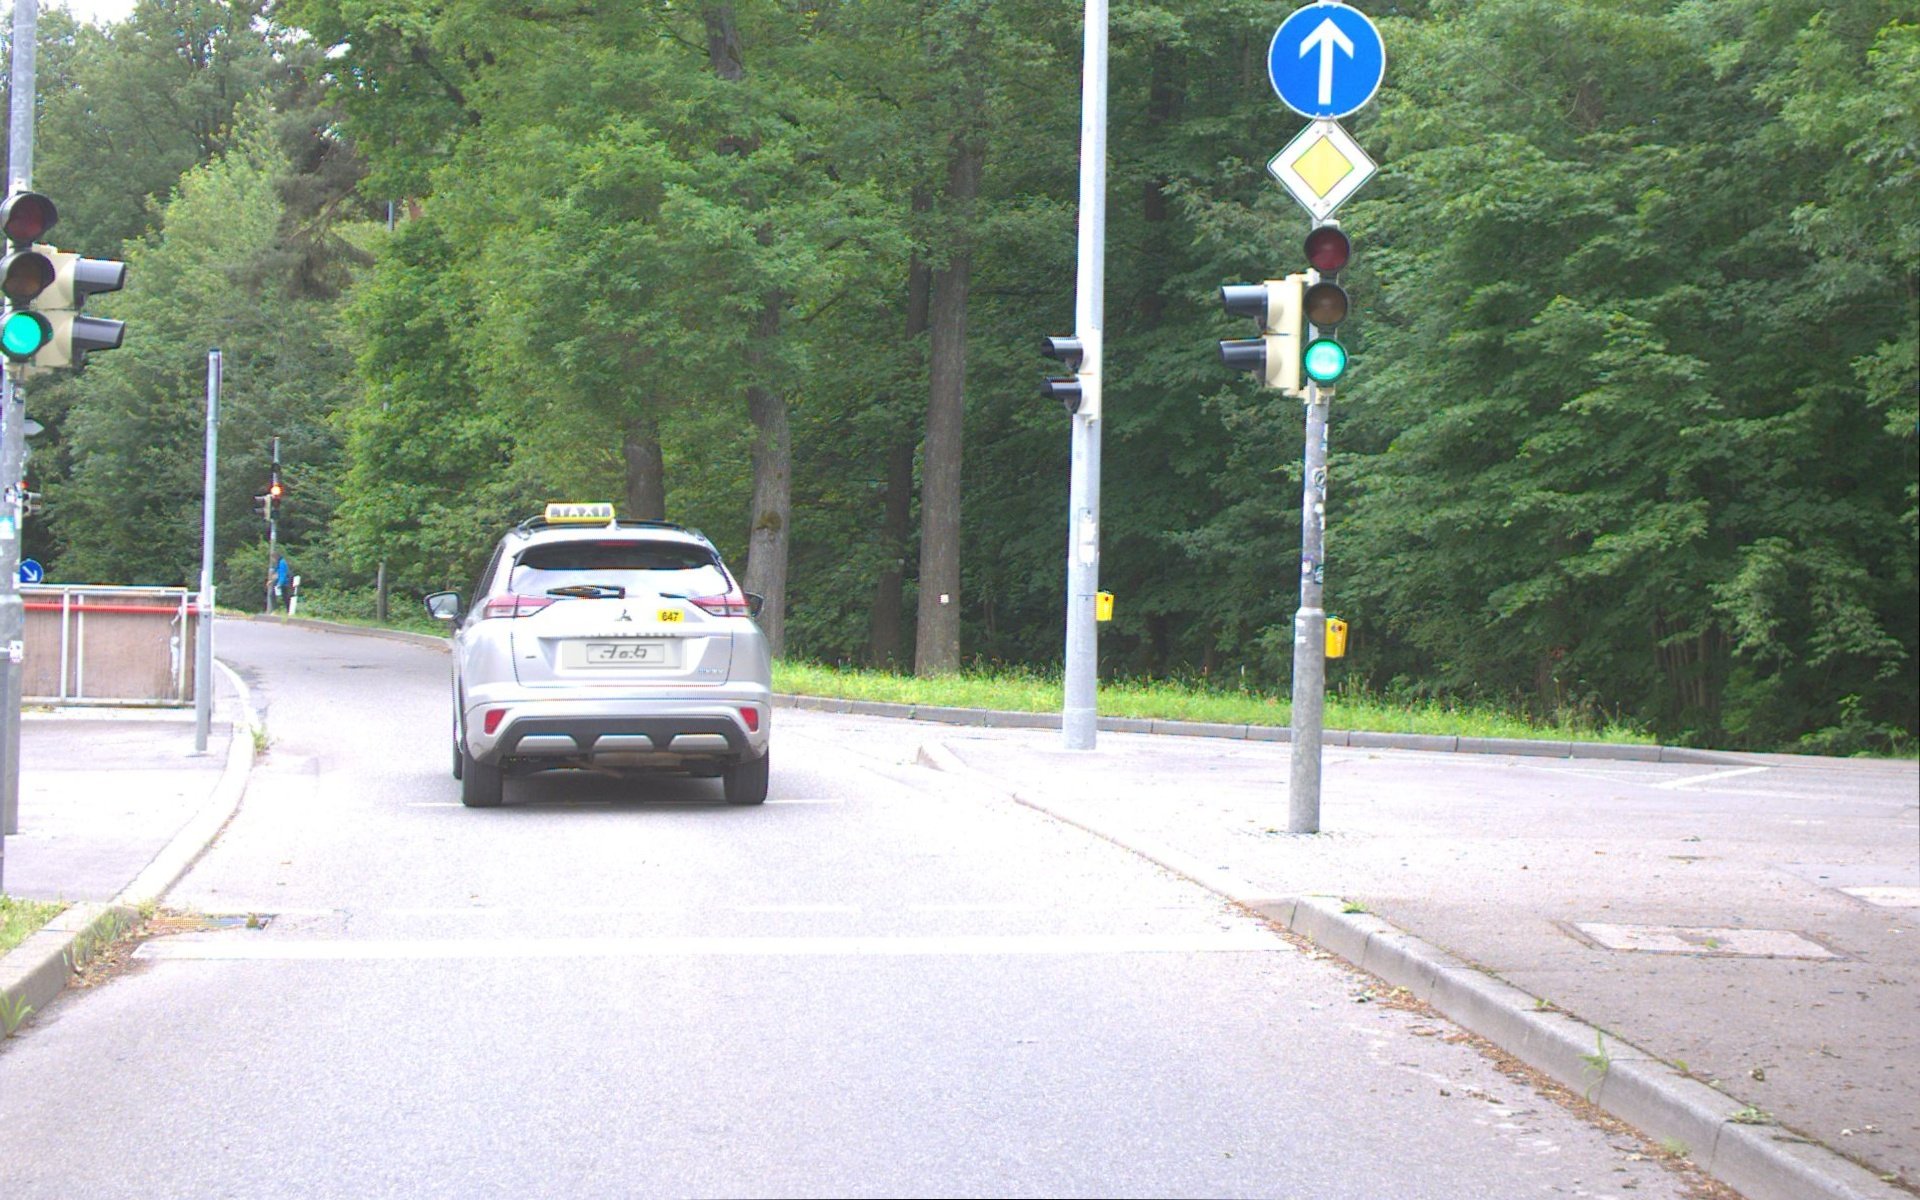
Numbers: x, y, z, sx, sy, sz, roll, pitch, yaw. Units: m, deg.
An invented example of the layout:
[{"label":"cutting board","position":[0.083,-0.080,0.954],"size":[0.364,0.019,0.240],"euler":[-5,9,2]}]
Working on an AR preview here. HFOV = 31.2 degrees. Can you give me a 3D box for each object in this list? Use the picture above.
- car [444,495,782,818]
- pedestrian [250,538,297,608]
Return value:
[{"label":"car","position":[-2.156,0.285,21.144],"size":[1.846,1.774,4.001],"euler":[1,1,-6]},{"label":"pedestrian","position":[-16.373,-0.642,81.956],"size":[1.047,1.643,1.069],"euler":[0,1,-13]}]
